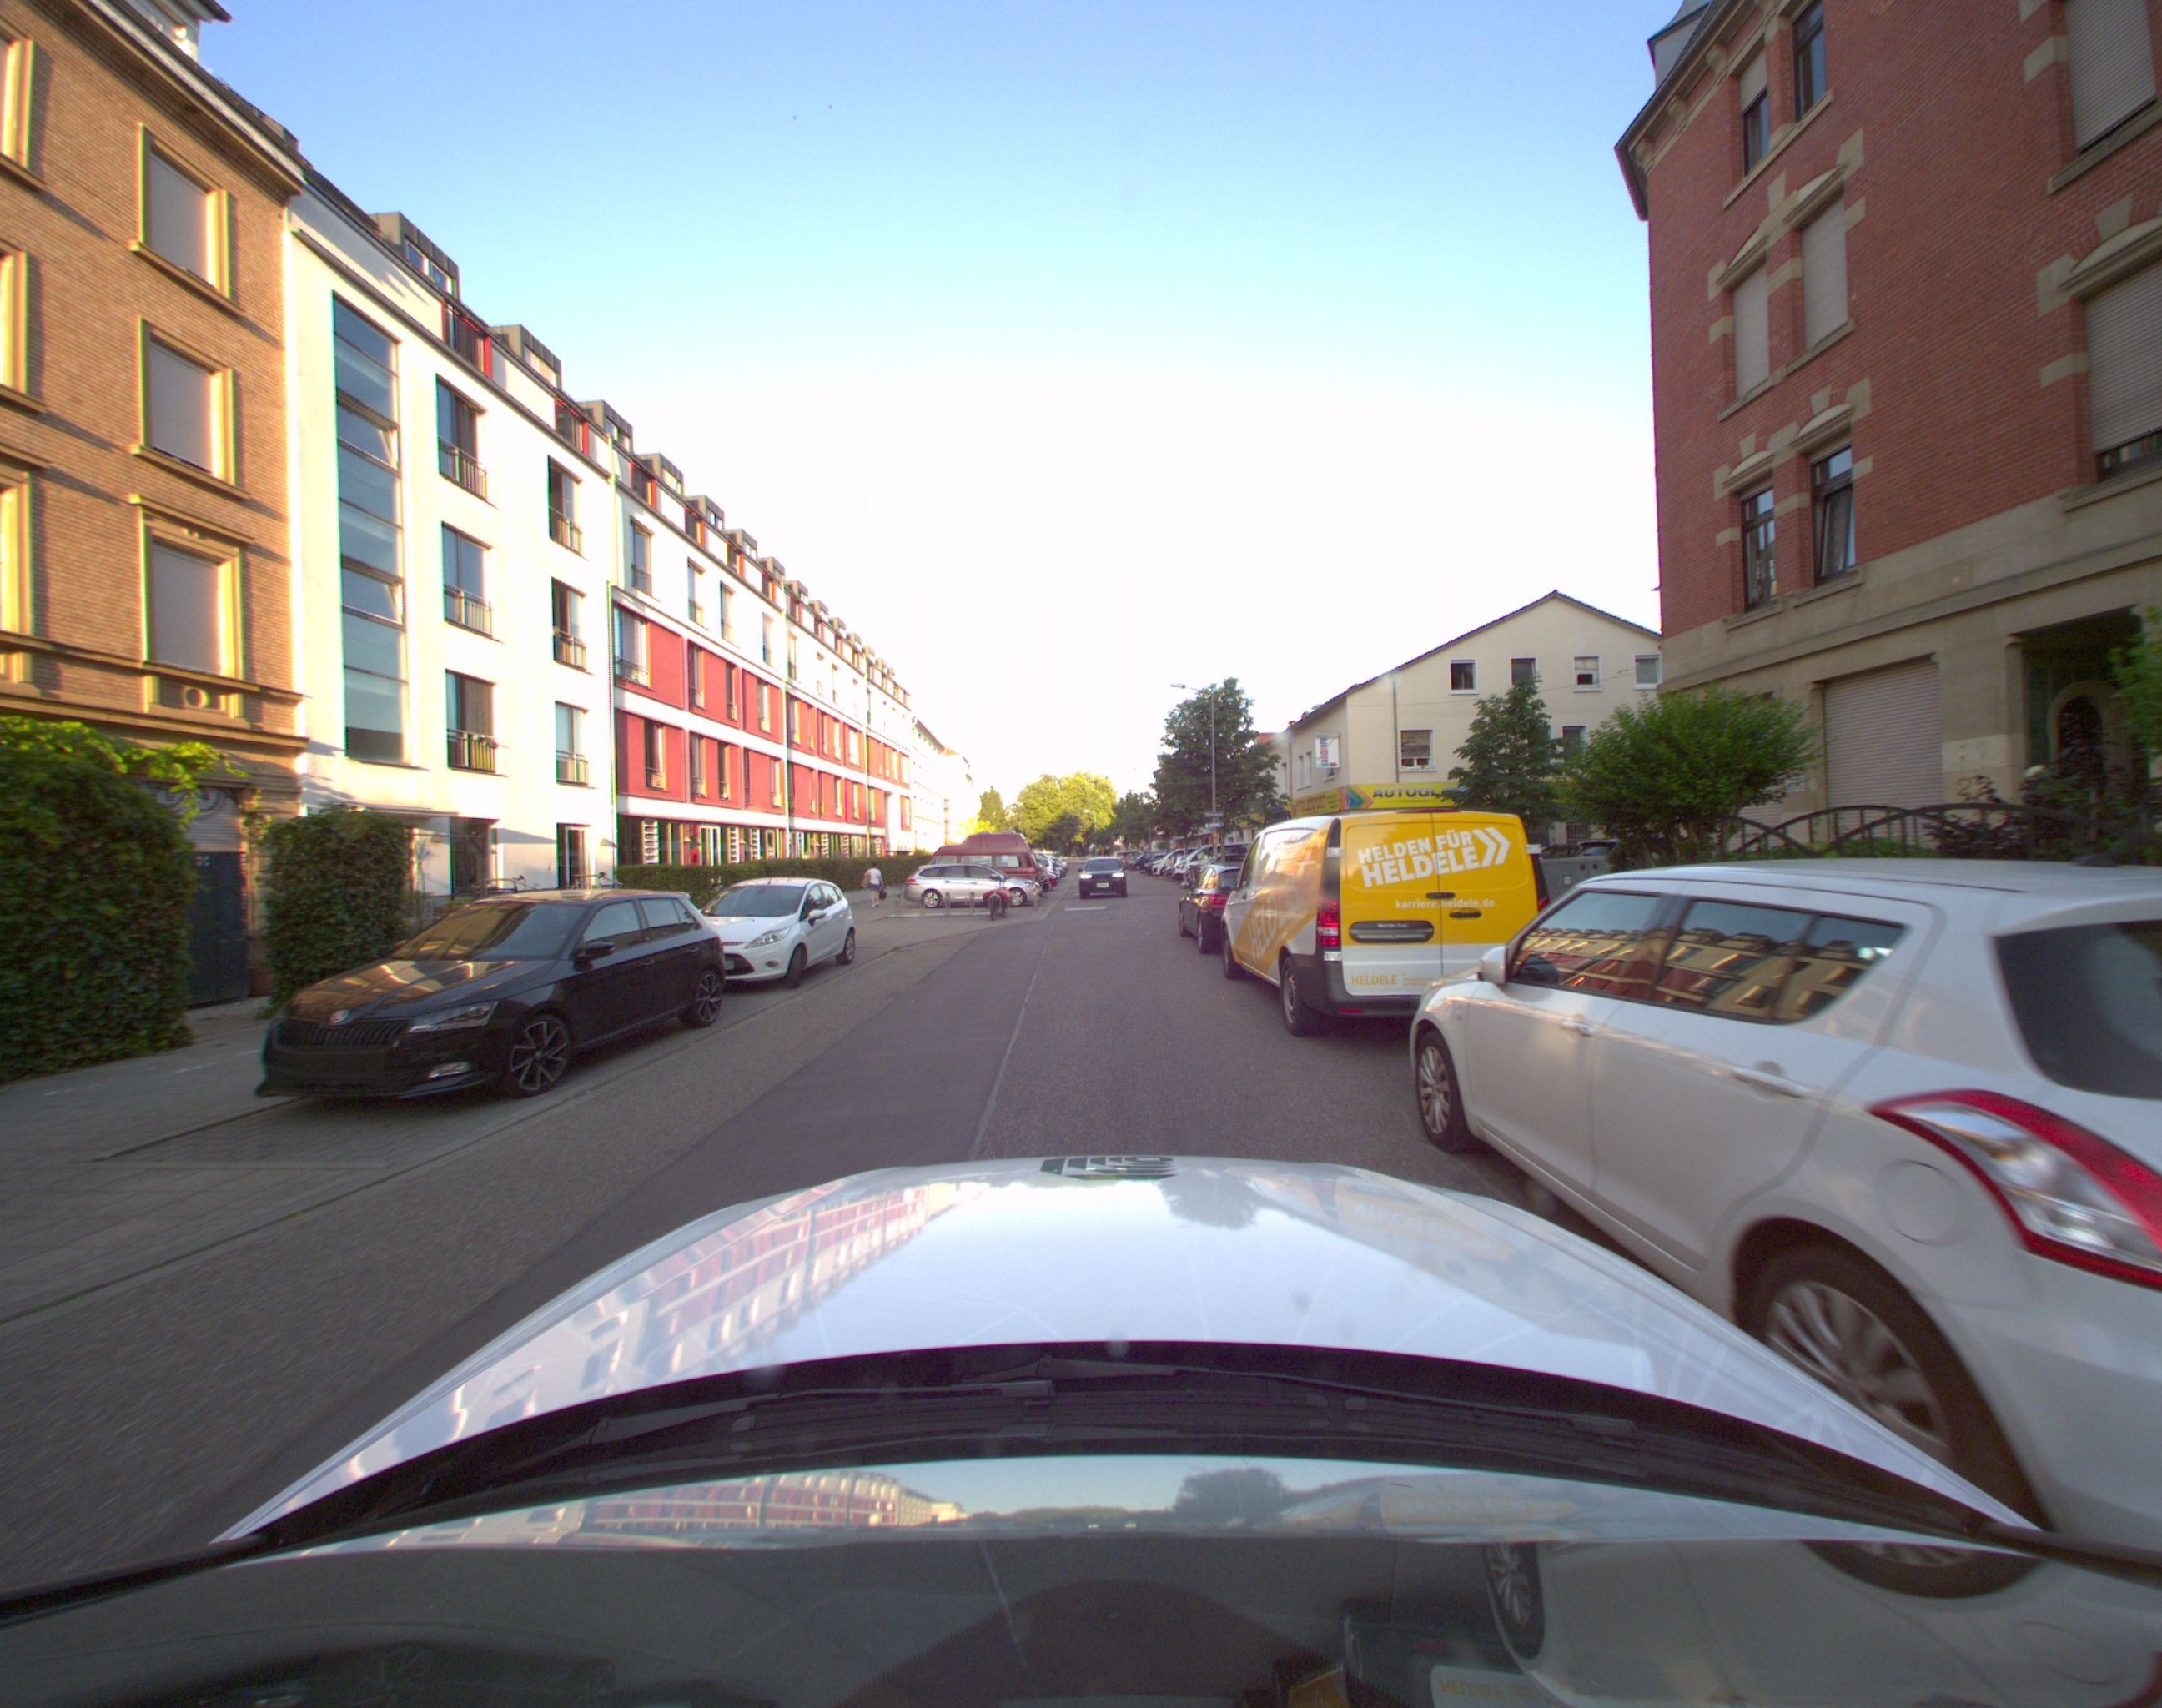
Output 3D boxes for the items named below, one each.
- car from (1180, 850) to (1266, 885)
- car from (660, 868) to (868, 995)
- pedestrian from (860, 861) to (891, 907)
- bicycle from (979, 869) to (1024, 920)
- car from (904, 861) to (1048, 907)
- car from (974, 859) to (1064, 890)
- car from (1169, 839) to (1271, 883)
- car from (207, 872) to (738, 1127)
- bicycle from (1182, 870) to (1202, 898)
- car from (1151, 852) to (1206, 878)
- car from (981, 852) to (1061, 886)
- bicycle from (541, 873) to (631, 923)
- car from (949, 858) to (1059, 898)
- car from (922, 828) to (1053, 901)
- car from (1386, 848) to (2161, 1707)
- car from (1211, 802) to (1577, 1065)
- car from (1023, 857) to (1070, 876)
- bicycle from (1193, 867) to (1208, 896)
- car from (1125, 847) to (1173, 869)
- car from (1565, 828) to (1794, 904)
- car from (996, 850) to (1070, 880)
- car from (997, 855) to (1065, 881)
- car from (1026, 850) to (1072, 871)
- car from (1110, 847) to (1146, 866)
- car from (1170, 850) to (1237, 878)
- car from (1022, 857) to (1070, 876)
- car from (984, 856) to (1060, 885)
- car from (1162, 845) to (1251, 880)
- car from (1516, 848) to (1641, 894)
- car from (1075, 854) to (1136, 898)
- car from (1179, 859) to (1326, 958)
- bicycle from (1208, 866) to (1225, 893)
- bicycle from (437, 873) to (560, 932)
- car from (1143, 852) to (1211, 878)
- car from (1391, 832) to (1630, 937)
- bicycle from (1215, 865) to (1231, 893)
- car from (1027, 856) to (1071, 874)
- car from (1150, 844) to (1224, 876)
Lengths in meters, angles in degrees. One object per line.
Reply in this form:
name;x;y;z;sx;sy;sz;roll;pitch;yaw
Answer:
car;7.000;0.656;40.442;3.908;1.451;1.767;-4;0;-2
car;-4.554;1.020;12.361;1.646;1.530;4.014;-1;0;-2
pedestrian;-6.921;1.000;27.414;0.829;1.501;0.798;0;0;1
bicycle;-2.103;1.041;21.923;0.804;1.221;2.867;0;0;3
car;-3.434;0.973;27.240;4.604;1.460;1.879;0;0;-3
car;-3.005;0.984;39.993;4.193;1.490;1.850;0;0;1
car;7.319;0.367;43.228;4.972;1.983;2.220;-4;0;1
car;-4.735;0.982;7.169;1.697;1.534;3.845;-1;0;1
bicycle;4.912;1.312;36.120;0.437;1.130;2.014;-3;0;-4
car;8.130;0.915;68.233;4.304;1.804;1.810;-4;0;-1
car;-3.305;0.839;45.420;4.242;1.836;2.000;0;0;1
bicycle;-11.642;1.028;19.192;1.768;1.148;0.611;0;0;3
car;-2.991;0.918;32.383;4.196;1.538;1.790;0;0;-1
car;-3.358;0.384;29.823;4.493;2.584;2.001;0;0;2
car;2.561;0.737;2.935;1.667;1.477;3.865;-1;0;4
car;2.689;0.589;8.477;1.887;1.884;5.082;-1;0;1
car;-3.208;1.184;75.904;4.242;1.714;2.000;0;0;1
bicycle;5.329;1.214;36.301;0.384;1.200;2.018;-3;0;2
car;6.746;0.432;80.822;4.470;1.911;1.685;-4;-1;-4
car;14.795;0.311;20.315;4.306;1.672;1.877;-2;-2;-1
car;-3.186;0.730;54.806;4.833;2.021;1.907;0;0;1
car;-3.162;0.898;52.248;4.242;1.652;1.888;0;0;1
car;-3.261;0.678;83.320;4.517;2.134;2.000;0;0;1
car;5.594;0.324;96.451;3.960;1.911;2.046;-4;0;-4
car;7.637;0.614;51.201;3.897;1.526;1.940;-4;0;1
car;-3.095;1.115;73.161;4.243;1.622;2.000;0;0;0
car;-3.435;0.959;47.894;4.242;1.660;2.000;0;0;1
car;7.424;0.527;48.571;4.925;1.742;2.050;-4;0;1
car;18.085;0.594;29.892;1.736;1.509;4.570;-2;-1;-1
car;1.030;0.814;31.564;1.769;1.517;4.010;-3;0;9
car;2.766;0.817;14.071;1.715;1.424;4.254;0;0;1
bicycle;6.034;1.117;36.325;0.384;1.114;2.018;-3;0;2
bicycle;-11.826;0.967;16.570;1.908;1.141;0.812;0;0;1
car;7.401;0.833;63.336;4.929;1.689;2.076;-4;0;-1
car;7.078;0.457;14.031;1.720;1.424;4.423;-3;0;0
bicycle;6.318;1.095;36.308;0.384;1.200;2.018;-3;0;2
car;-3.167;1.074;80.569;4.242;1.749;2.000;0;0;1
car;7.542;0.443;58.393;4.929;1.958;2.048;-4;0;-1
